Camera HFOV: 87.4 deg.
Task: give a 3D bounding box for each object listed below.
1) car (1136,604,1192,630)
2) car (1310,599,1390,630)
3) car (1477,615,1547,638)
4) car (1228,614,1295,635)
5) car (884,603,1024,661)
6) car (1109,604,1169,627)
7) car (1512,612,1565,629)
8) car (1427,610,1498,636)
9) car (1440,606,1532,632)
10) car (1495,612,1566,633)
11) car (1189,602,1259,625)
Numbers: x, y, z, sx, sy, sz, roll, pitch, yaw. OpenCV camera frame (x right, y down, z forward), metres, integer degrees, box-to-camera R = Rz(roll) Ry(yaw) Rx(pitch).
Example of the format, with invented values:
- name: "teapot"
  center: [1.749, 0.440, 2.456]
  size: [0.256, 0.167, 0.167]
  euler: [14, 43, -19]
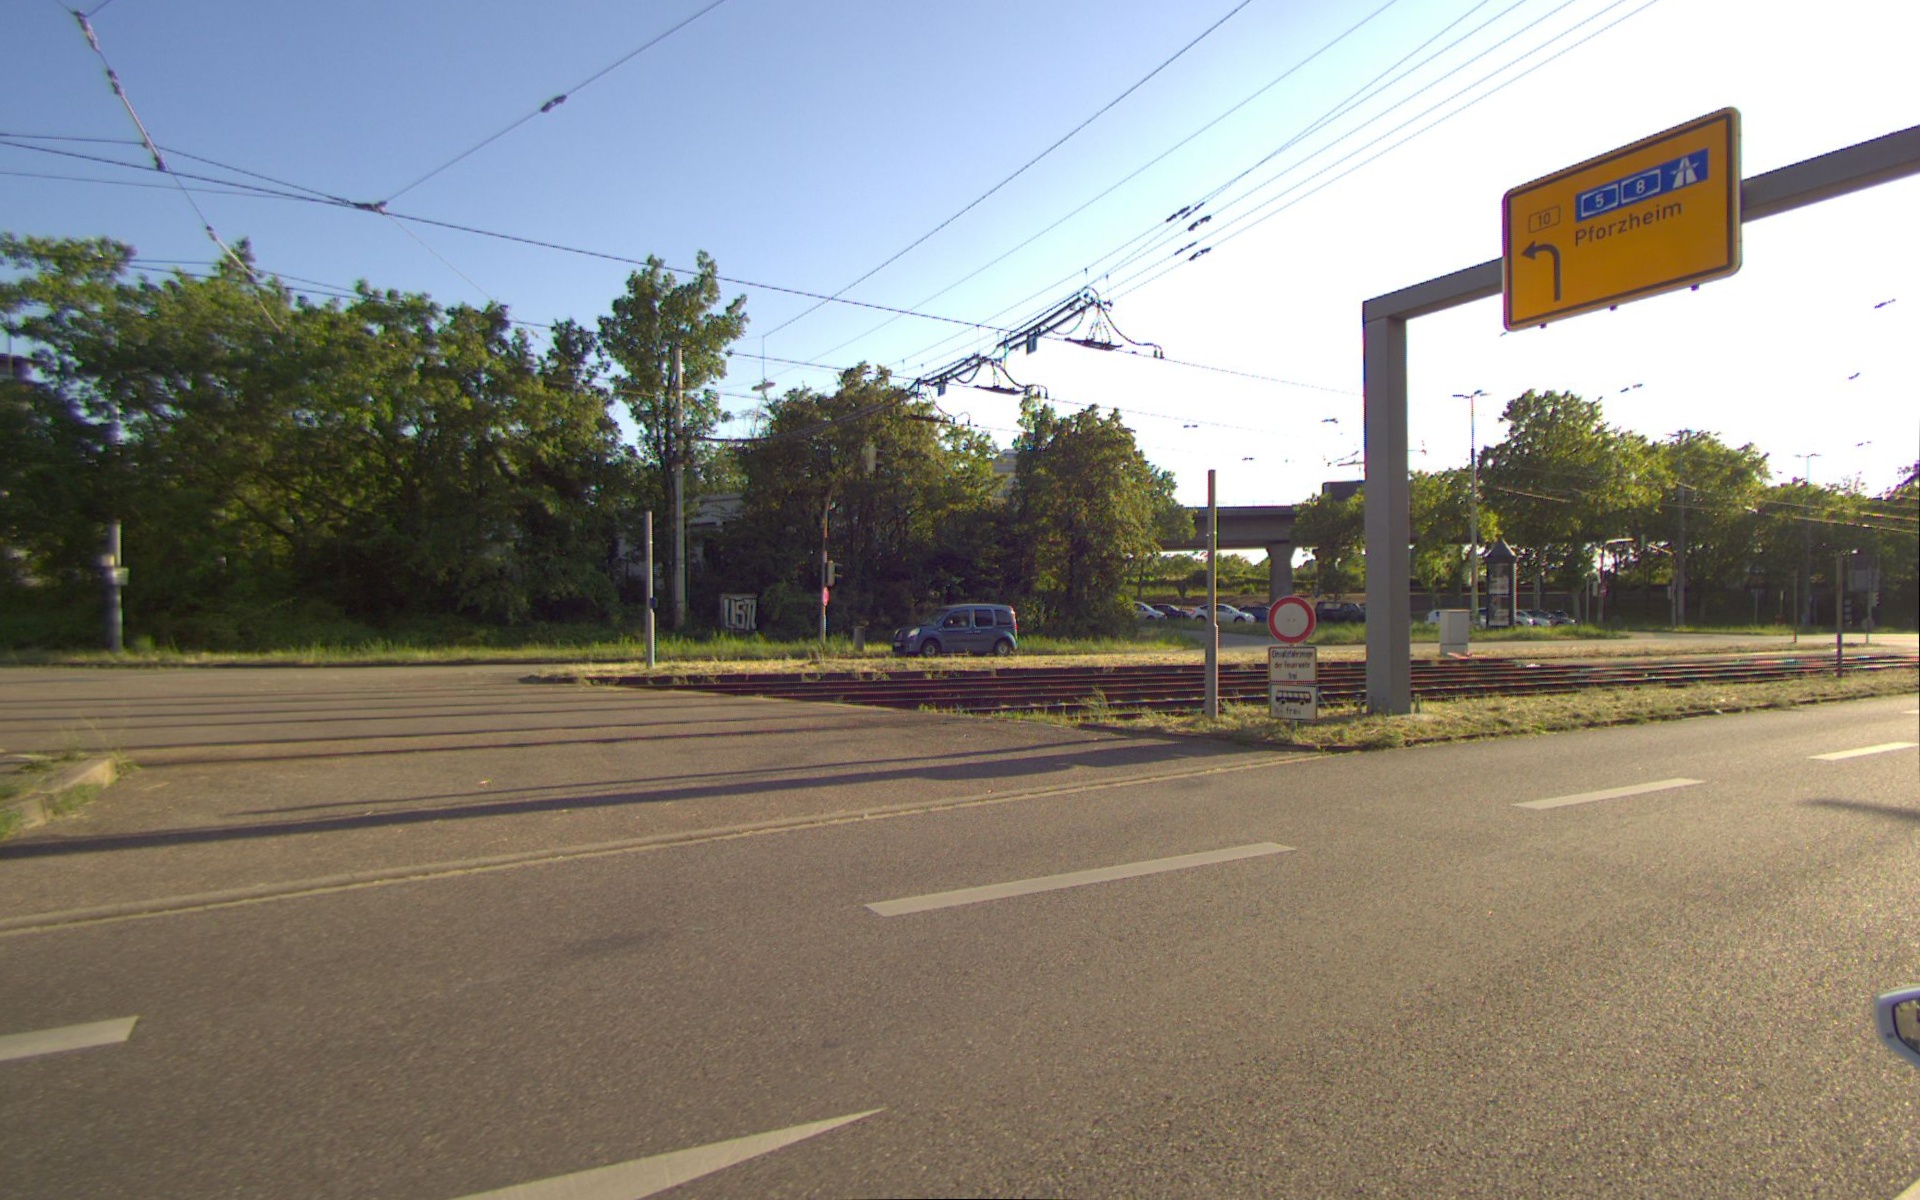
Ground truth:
- name: "car"
  center: [16.087, 1.337, 79.327]
  size: [3.929, 2.040, 1.996]
  euler: [0, -1, 31]
- name: "car"
  center: [26.611, 0.972, 68.635]
  size: [4.855, 2.018, 2.034]
  euler: [0, 0, 29]
- name: "car"
  center: [38.302, 1.806, 69.724]
  size: [4.124, 1.423, 1.666]
  euler: [1, 1, 32]
- name: "car"
  center: [22.721, 1.848, 75.732]
  size: [4.541, 1.478, 1.691]
  euler: [1, 1, 28]
- name: "car"
  center: [-0.187, 1.004, 33.085]
  size: [4.206, 1.811, 1.925]
  euler: [0, 0, -29]
- name: "car"
  center: [13.595, 1.130, 76.265]
  size: [4.210, 1.653, 1.691]
  euler: [1, 0, 29]
- name: "car"
  center: [53.502, 1.843, 93.015]
  size: [1.720, 1.525, 3.970]
  euler: [0, 0, -28]
- name: "car"
  center: [32.647, 1.483, 65.305]
  size: [3.932, 1.596, 1.689]
  euler: [0, 0, 34]
- name: "car"
  center: [35.299, 1.258, 67.476]
  size: [5.280, 1.596, 1.734]
  euler: [0, 0, 37]
- name: "car"
  center: [40.867, 1.596, 72.080]
  size: [4.365, 1.423, 1.668]
  euler: [1, 1, 29]
- name: "car"
  center: [19.191, 0.978, 73.134]
  size: [4.682, 1.595, 1.690]
  euler: [0, 0, 30]
